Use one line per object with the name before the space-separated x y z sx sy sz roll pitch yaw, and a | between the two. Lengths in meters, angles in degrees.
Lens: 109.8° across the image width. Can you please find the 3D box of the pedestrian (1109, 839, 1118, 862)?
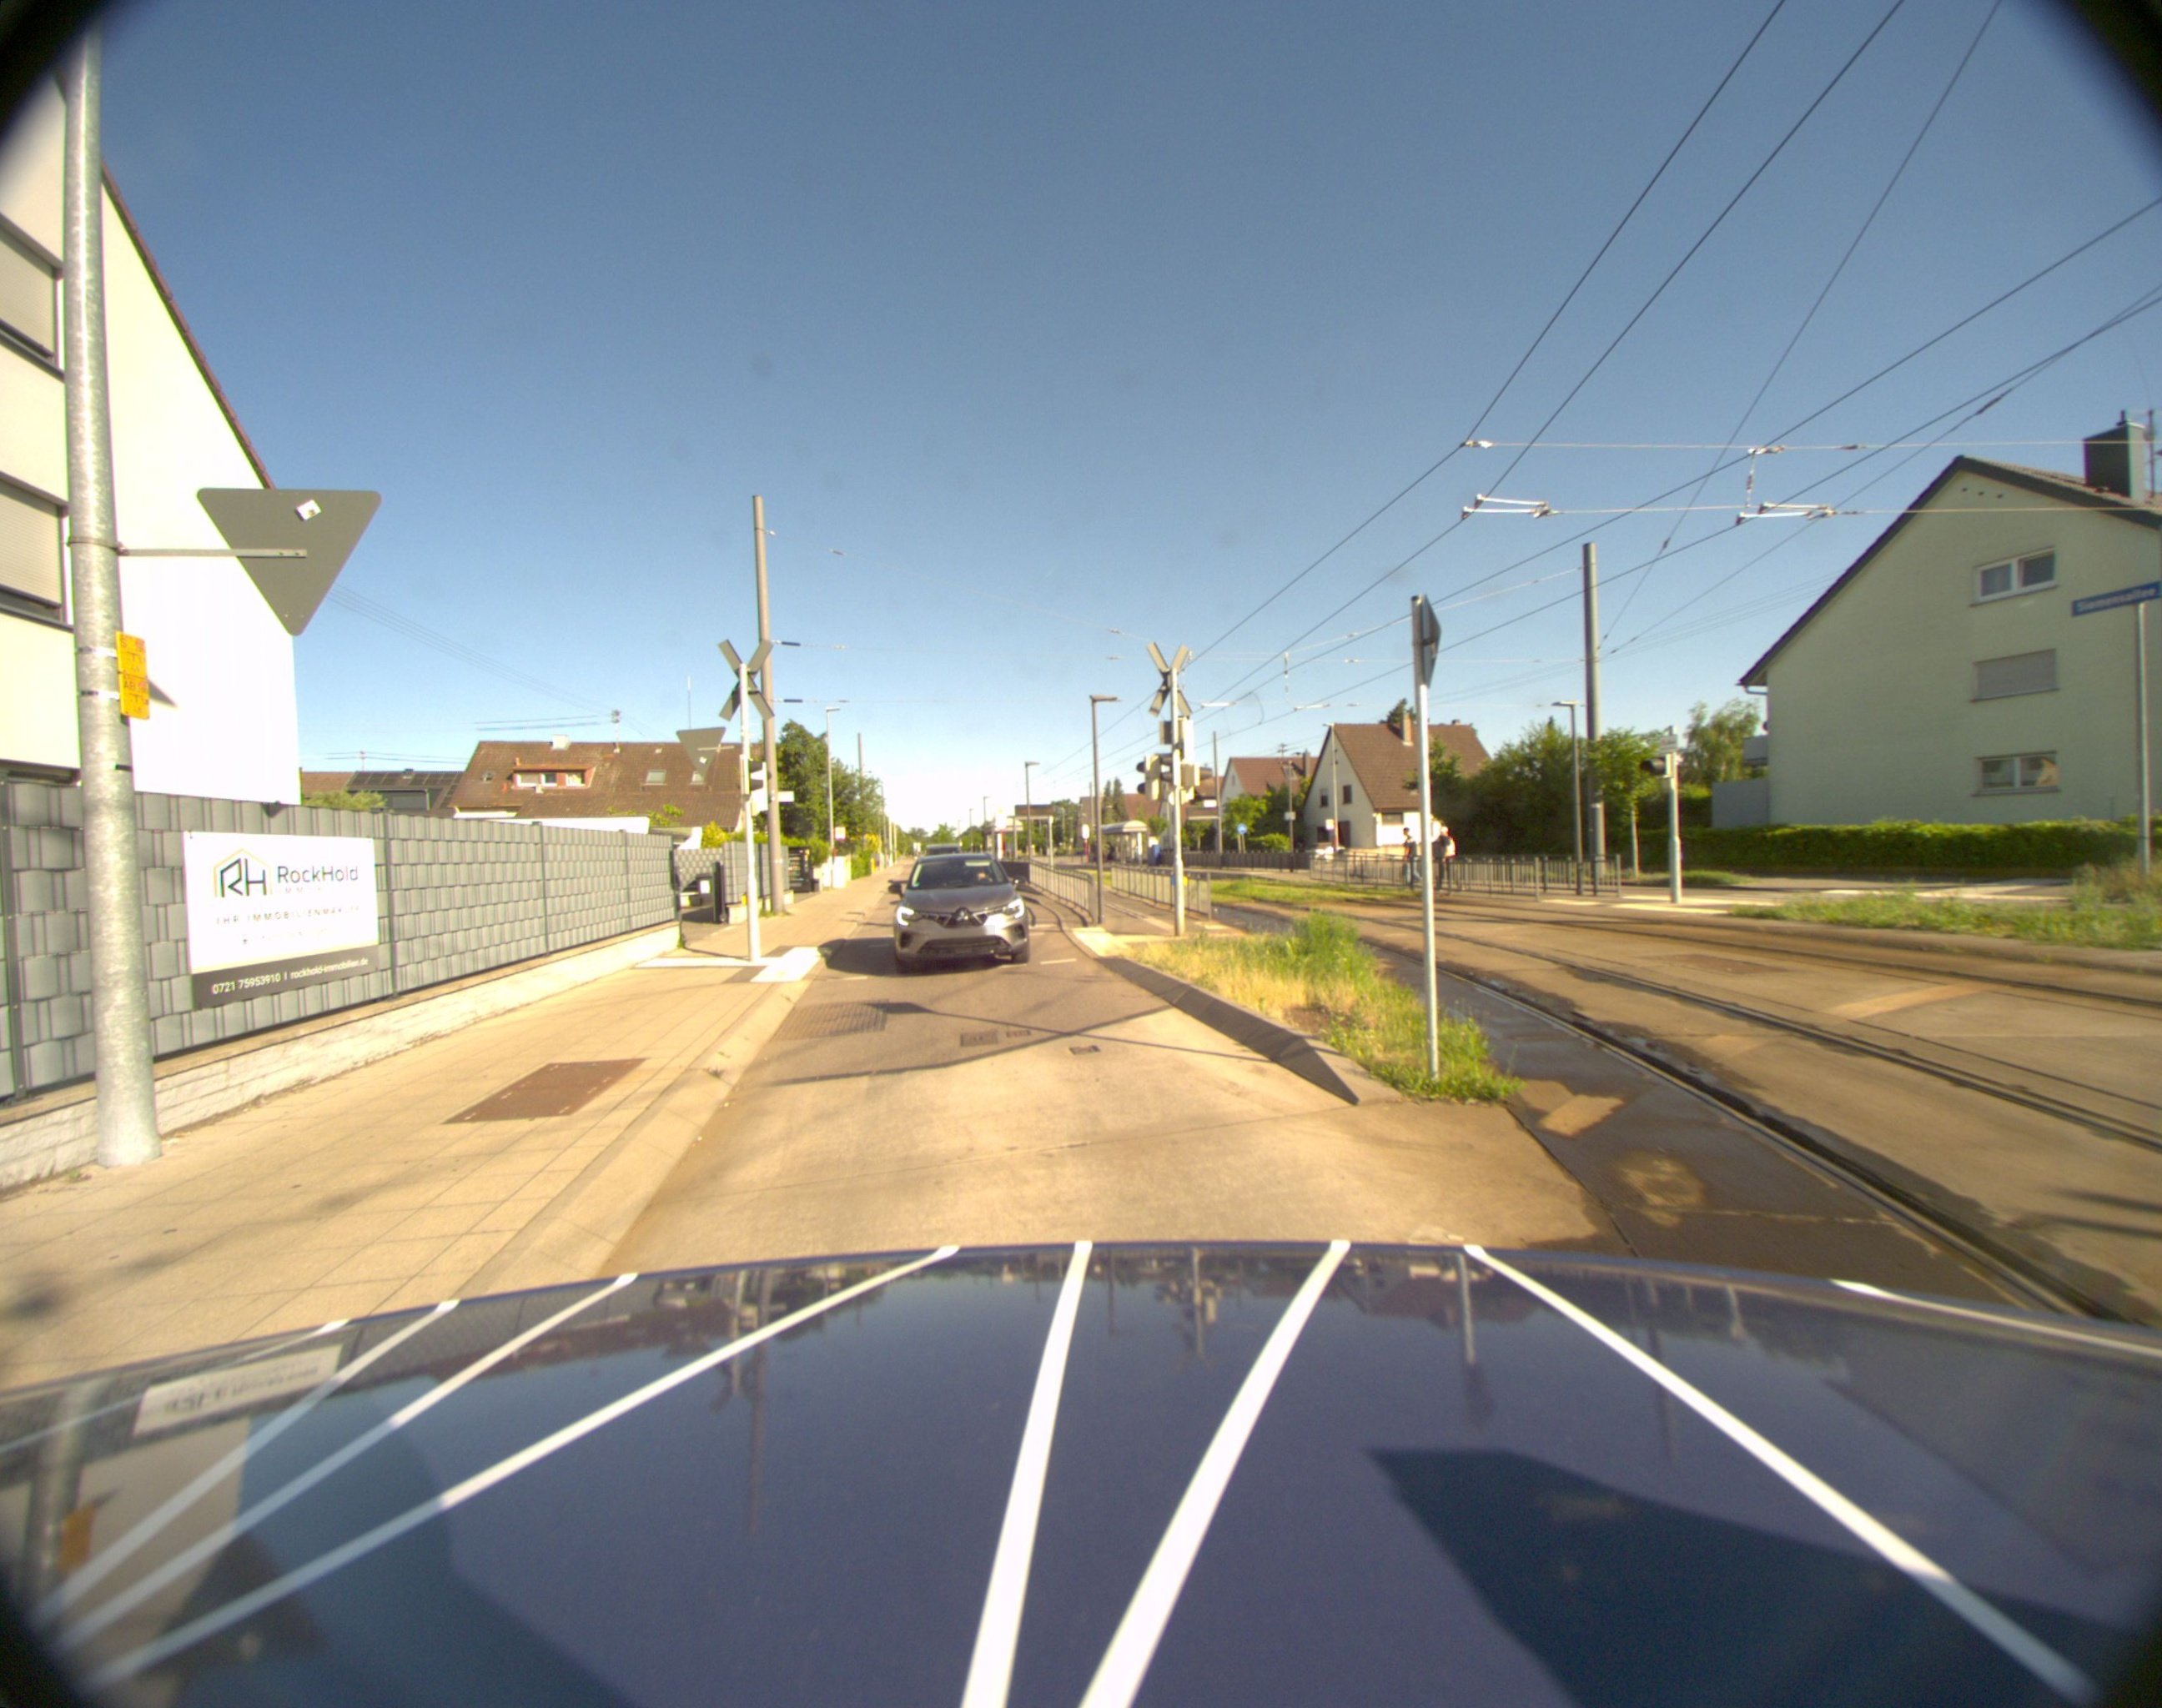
pedestrian | 2.510 -0.253 59.021 0.535 1.742 0.542 -2 1 -11

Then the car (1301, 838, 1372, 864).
car | 17.165 -0.215 51.094 3.993 1.526 1.997 -2 1 -14

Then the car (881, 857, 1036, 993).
car | -1.944 0.880 11.490 1.831 1.570 3.995 -3 1 -12

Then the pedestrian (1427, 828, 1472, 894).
pedestrian | 9.734 0.176 20.061 0.798 1.652 0.725 -6 4 -35

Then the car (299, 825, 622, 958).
car | -12.671 0.702 15.754 4.988 2.418 1.999 -2 2 3

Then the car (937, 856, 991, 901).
car | -4.150 0.805 26.803 1.688 1.379 3.996 -3 1 -10

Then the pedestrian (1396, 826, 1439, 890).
pedestrian | 9.617 0.112 21.727 0.690 1.761 0.823 -6 4 -35

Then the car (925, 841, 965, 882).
car | -8.122 0.429 45.507 2.091 2.226 4.717 -3 1 -10

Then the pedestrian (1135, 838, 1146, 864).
pedestrian | 4.081 -0.234 51.977 0.622 1.742 0.442 -2 1 8
